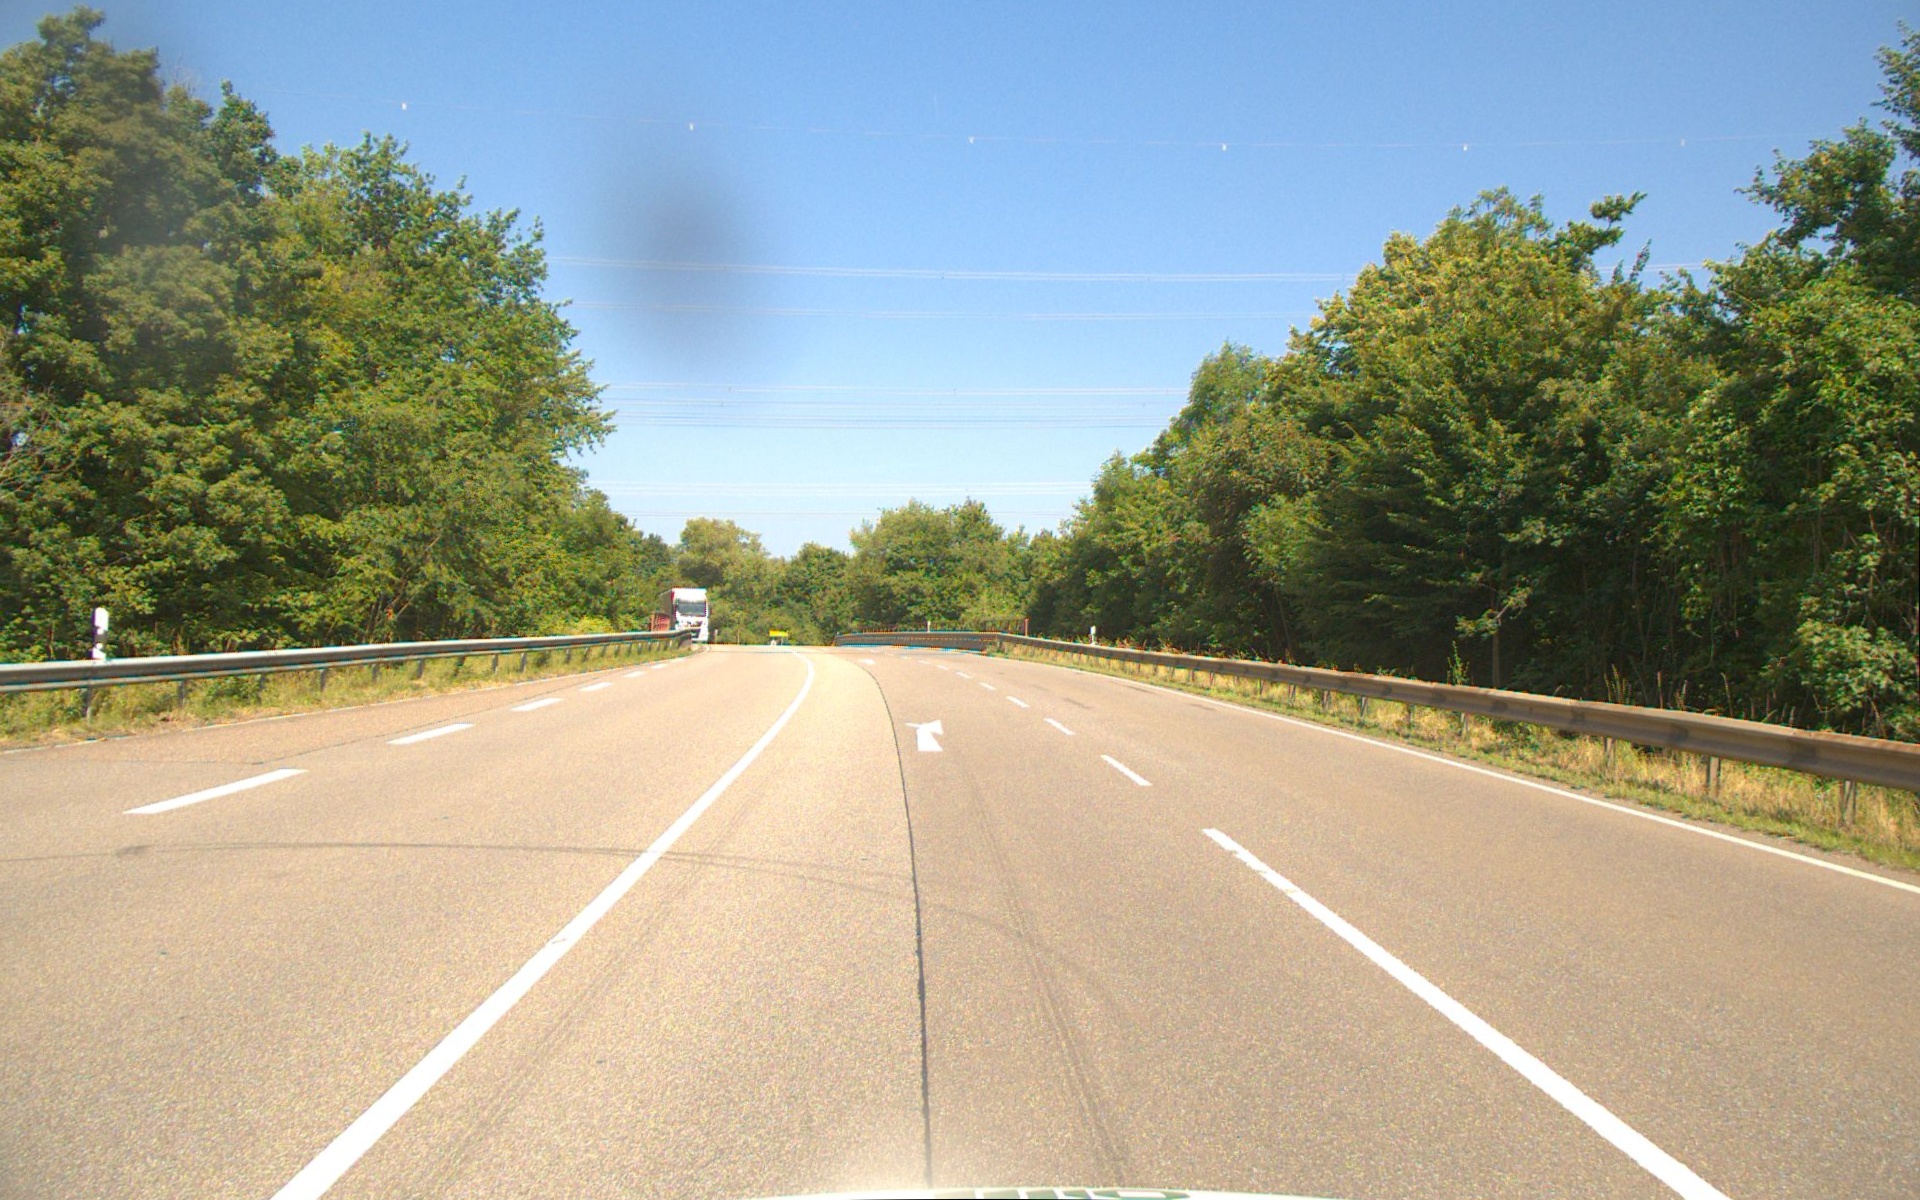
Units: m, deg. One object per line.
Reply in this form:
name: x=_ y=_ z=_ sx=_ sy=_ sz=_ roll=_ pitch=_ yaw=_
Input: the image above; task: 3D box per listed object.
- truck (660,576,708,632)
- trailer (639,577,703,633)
truck: x=-20.861 y=0.345 z=124.765 sx=2.725 sy=4.105 sz=5.826 roll=1 pitch=-2 yaw=-17
trailer: x=-23.028 y=0.530 z=131.093 sx=2.727 sy=4.134 sz=14.118 roll=1 pitch=-2 yaw=-19
